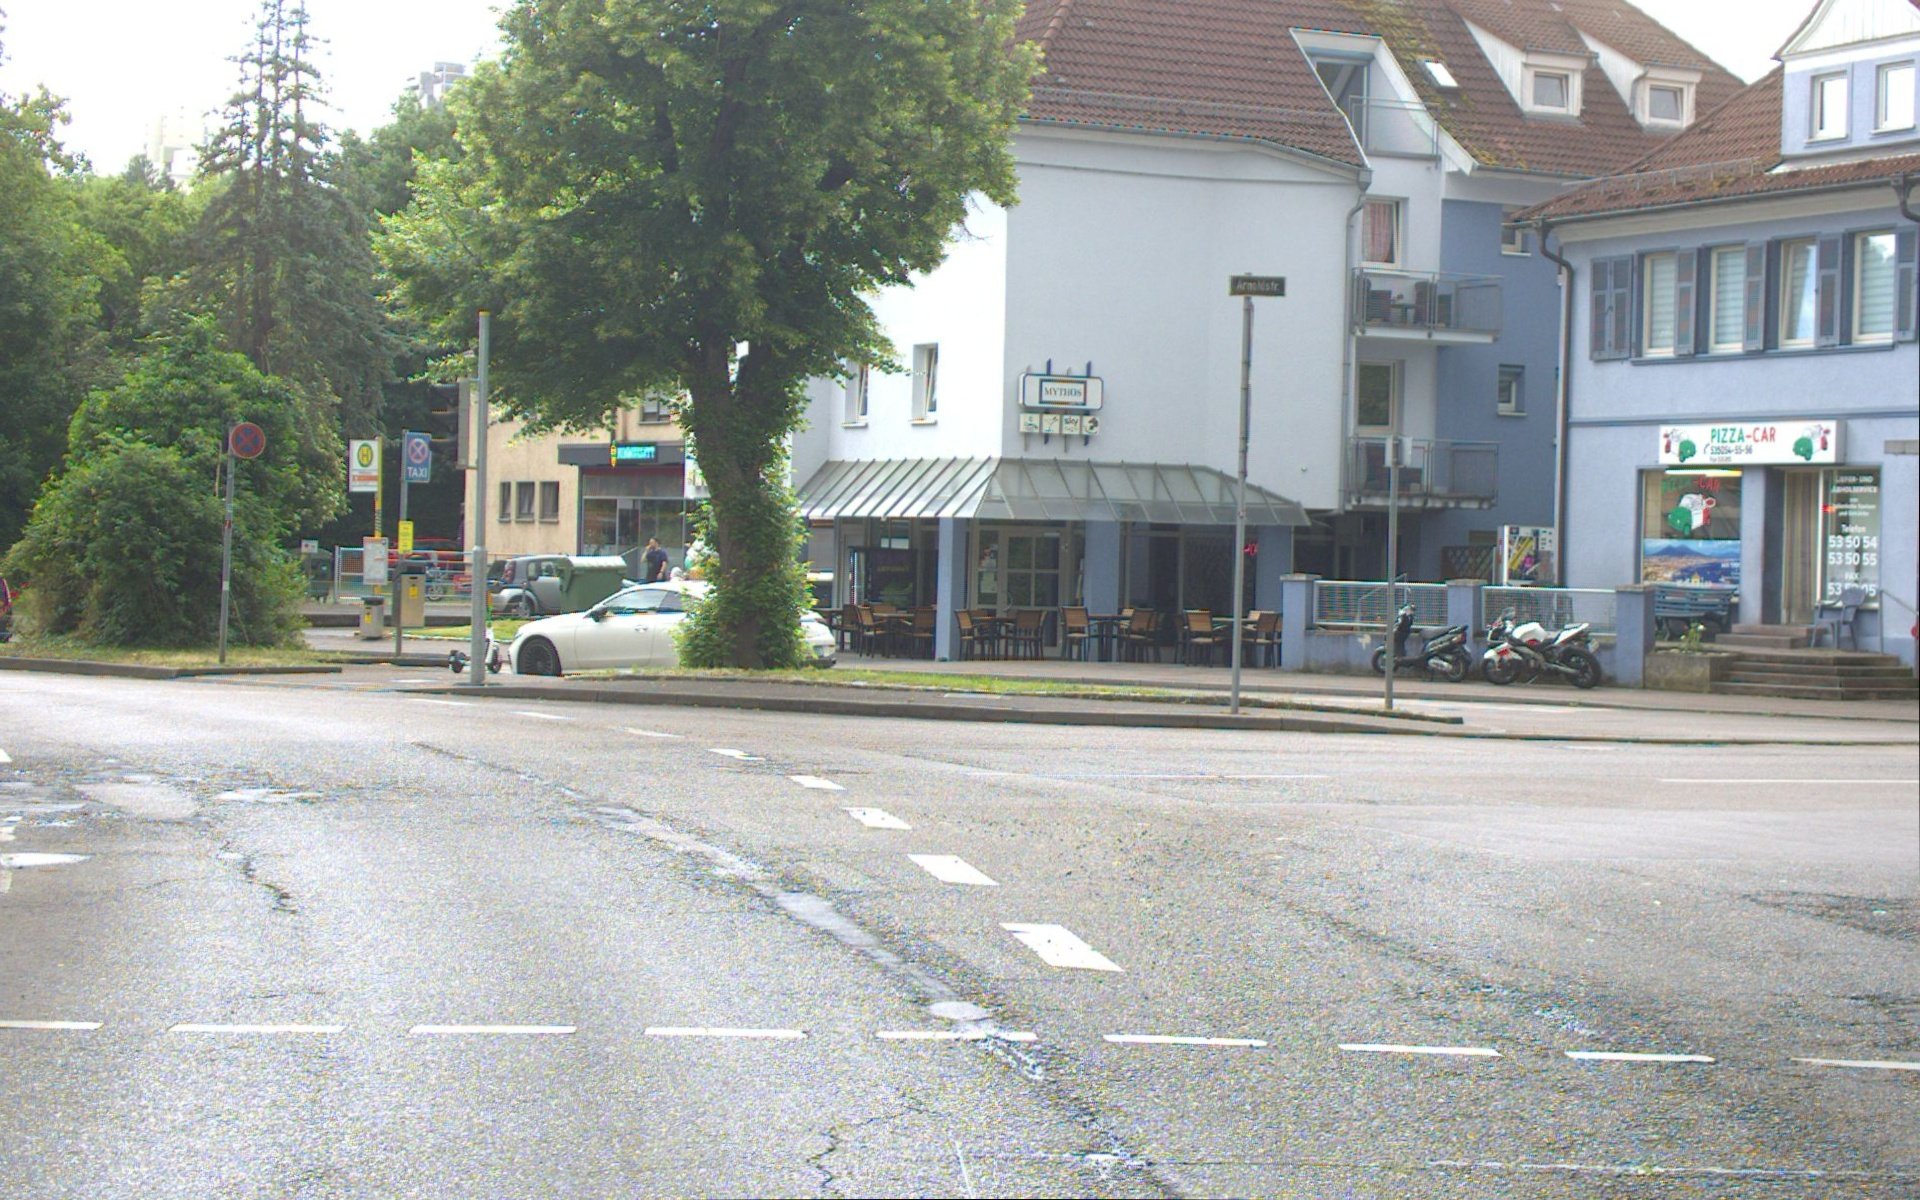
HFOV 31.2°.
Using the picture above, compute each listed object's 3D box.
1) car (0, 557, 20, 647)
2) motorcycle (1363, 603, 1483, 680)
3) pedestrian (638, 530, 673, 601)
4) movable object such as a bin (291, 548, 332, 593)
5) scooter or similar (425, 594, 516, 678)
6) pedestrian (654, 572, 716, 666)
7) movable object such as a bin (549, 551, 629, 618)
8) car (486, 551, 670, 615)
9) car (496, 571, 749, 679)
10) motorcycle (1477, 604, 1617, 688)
[{"bbox_3d":[-16.516,-0.013,53.714,3.590,1.389,1.469,2,1,32],"label":"car"},{"bbox_3d":[6.750,0.595,50.151,1.636,1.060,0.693,2,1,44],"label":"motorcycle"},{"bbox_3d":[-6.702,-0.765,75.614,0.676,1.539,0.708,1,1,0],"label":"pedestrian"},{"bbox_3d":[-16.249,-0.736,86.160,0.950,1.111,0.383,1,1,-21],"label":"movable object such as a bin"},{"bbox_3d":[-6.061,0.433,42.642,0.417,1.008,1.565,1,1,20],"label":"scooter or similar"},{"bbox_3d":[-4.607,0.313,57.600,0.768,1.539,0.677,1,1,39],"label":"pedestrian"},{"bbox_3d":[-7.985,-0.327,73.967,1.440,1.404,0.967,1,1,-27],"label":"movable object such as a bin"},{"bbox_3d":[-8.427,-0.369,75.864,3.733,1.340,1.434,1,1,-26],"label":"car"},{"bbox_3d":[-4.533,0.317,46.035,3.171,1.350,1.436,2,1,35],"label":"car"},{"bbox_3d":[8.255,0.633,48.373,1.798,1.118,0.693,2,1,38],"label":"motorcycle"}]
